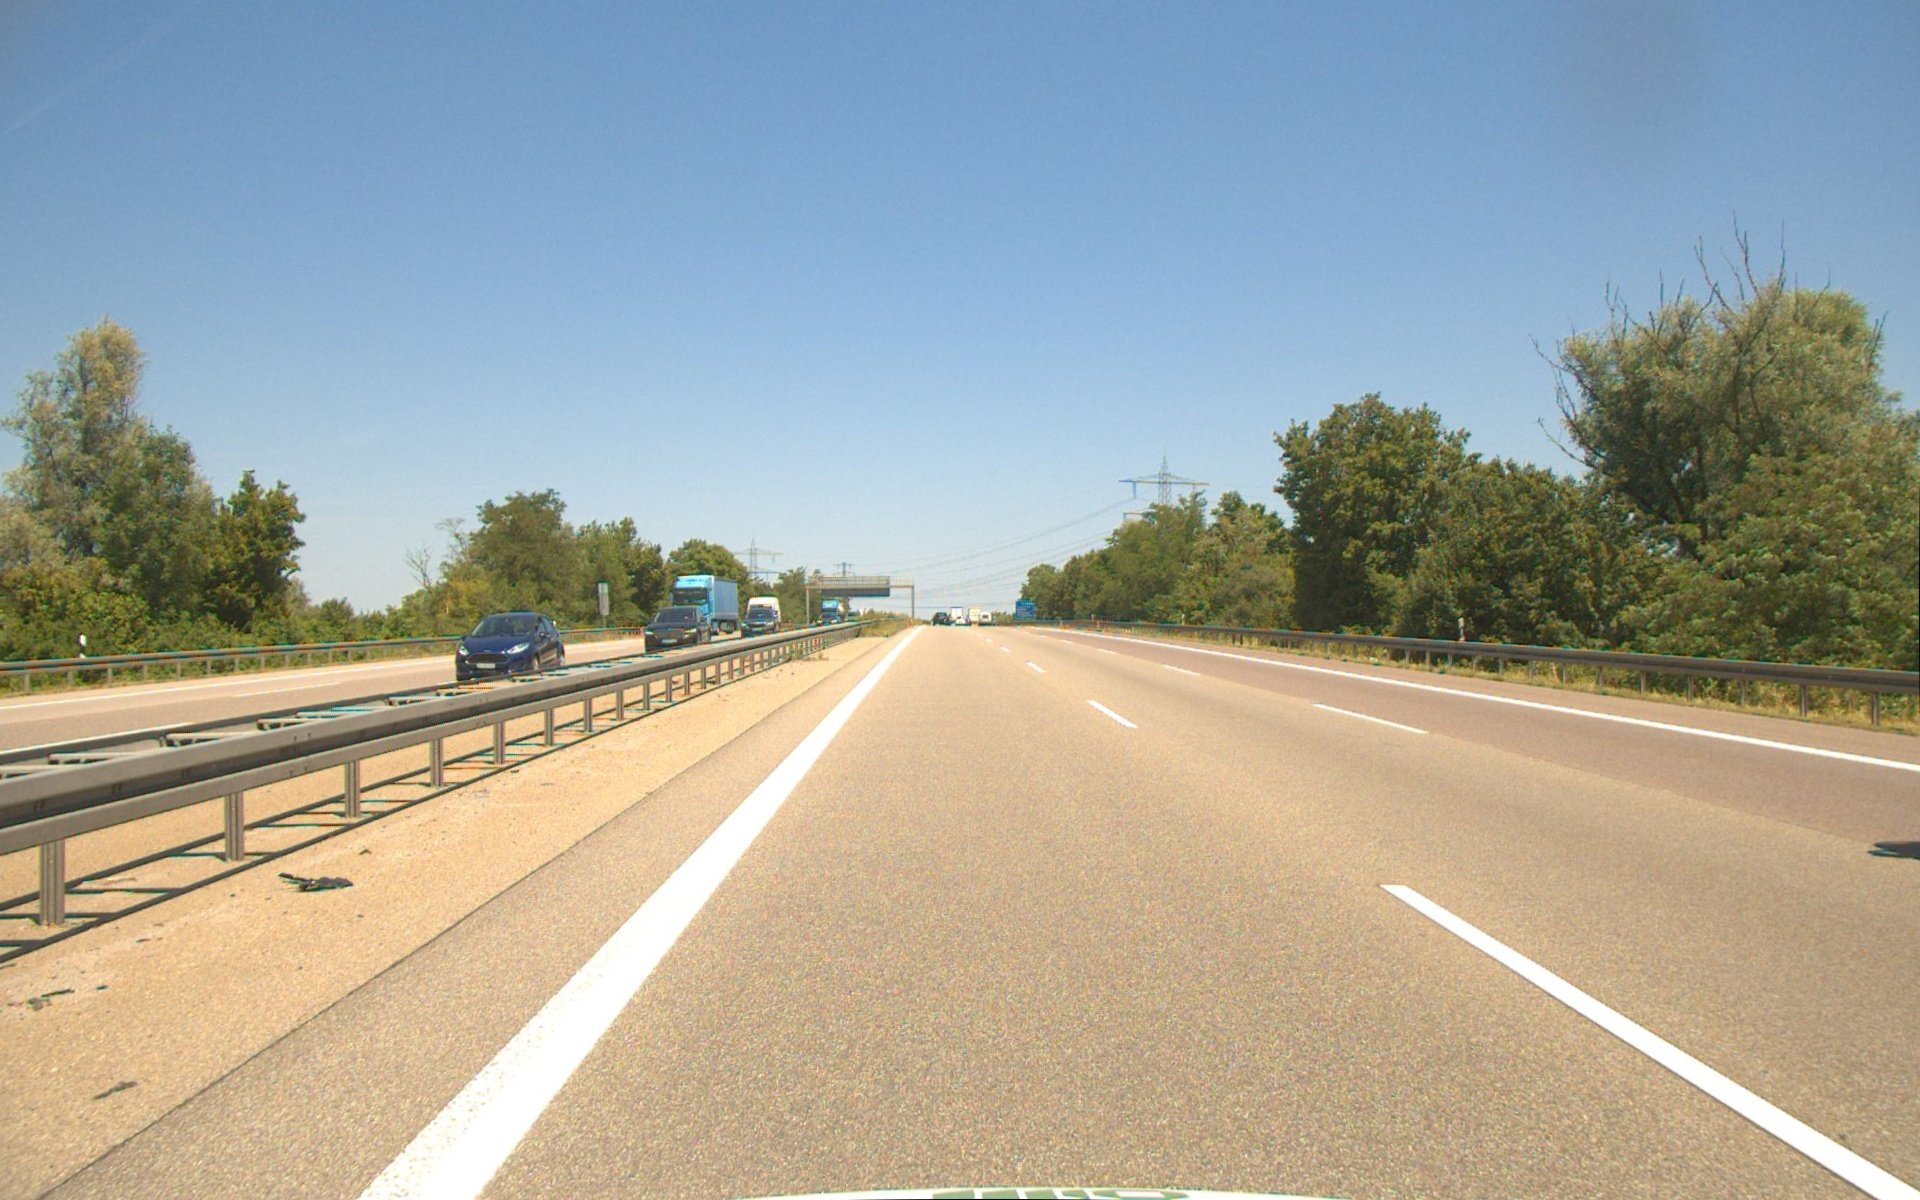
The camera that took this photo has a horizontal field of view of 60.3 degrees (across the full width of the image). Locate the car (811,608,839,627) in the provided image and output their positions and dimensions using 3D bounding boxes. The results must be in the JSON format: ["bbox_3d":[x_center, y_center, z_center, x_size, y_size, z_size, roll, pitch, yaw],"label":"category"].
[{"bbox_3d":[-10.996,1.399,134.777,1.953,1.510,4.786,-1,0,-1],"label":"car"}]

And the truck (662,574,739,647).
[{"bbox_3d":[-18.667,0.750,120.181,3.161,4.802,16.854,-3,0,-1],"label":"truck"}]

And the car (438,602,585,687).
[{"bbox_3d":[-9.829,0.938,36.617,1.953,1.632,4.598,-4,0,-1],"label":"car"}]

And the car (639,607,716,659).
[{"bbox_3d":[-9.758,1.108,57.370,1.953,1.719,4.407,-1,0,-1],"label":"car"}]

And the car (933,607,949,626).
[{"bbox_3d":[-2.095,1.784,181.319,1.755,2.049,3.887,1,-1,-1],"label":"car"}]

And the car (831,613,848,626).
[{"bbox_3d":[-15.328,2.518,211.258,1.953,1.646,3.999,-1,0,-1],"label":"car"}]

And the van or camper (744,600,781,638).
[{"bbox_3d":[-14.281,1.344,119.914,1.953,2.610,7.032,-3,0,-2],"label":"van or camper"}]

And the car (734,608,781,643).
[{"bbox_3d":[-10.625,1.318,87.197,1.953,1.719,4.407,-2,0,-1],"label":"car"}]
